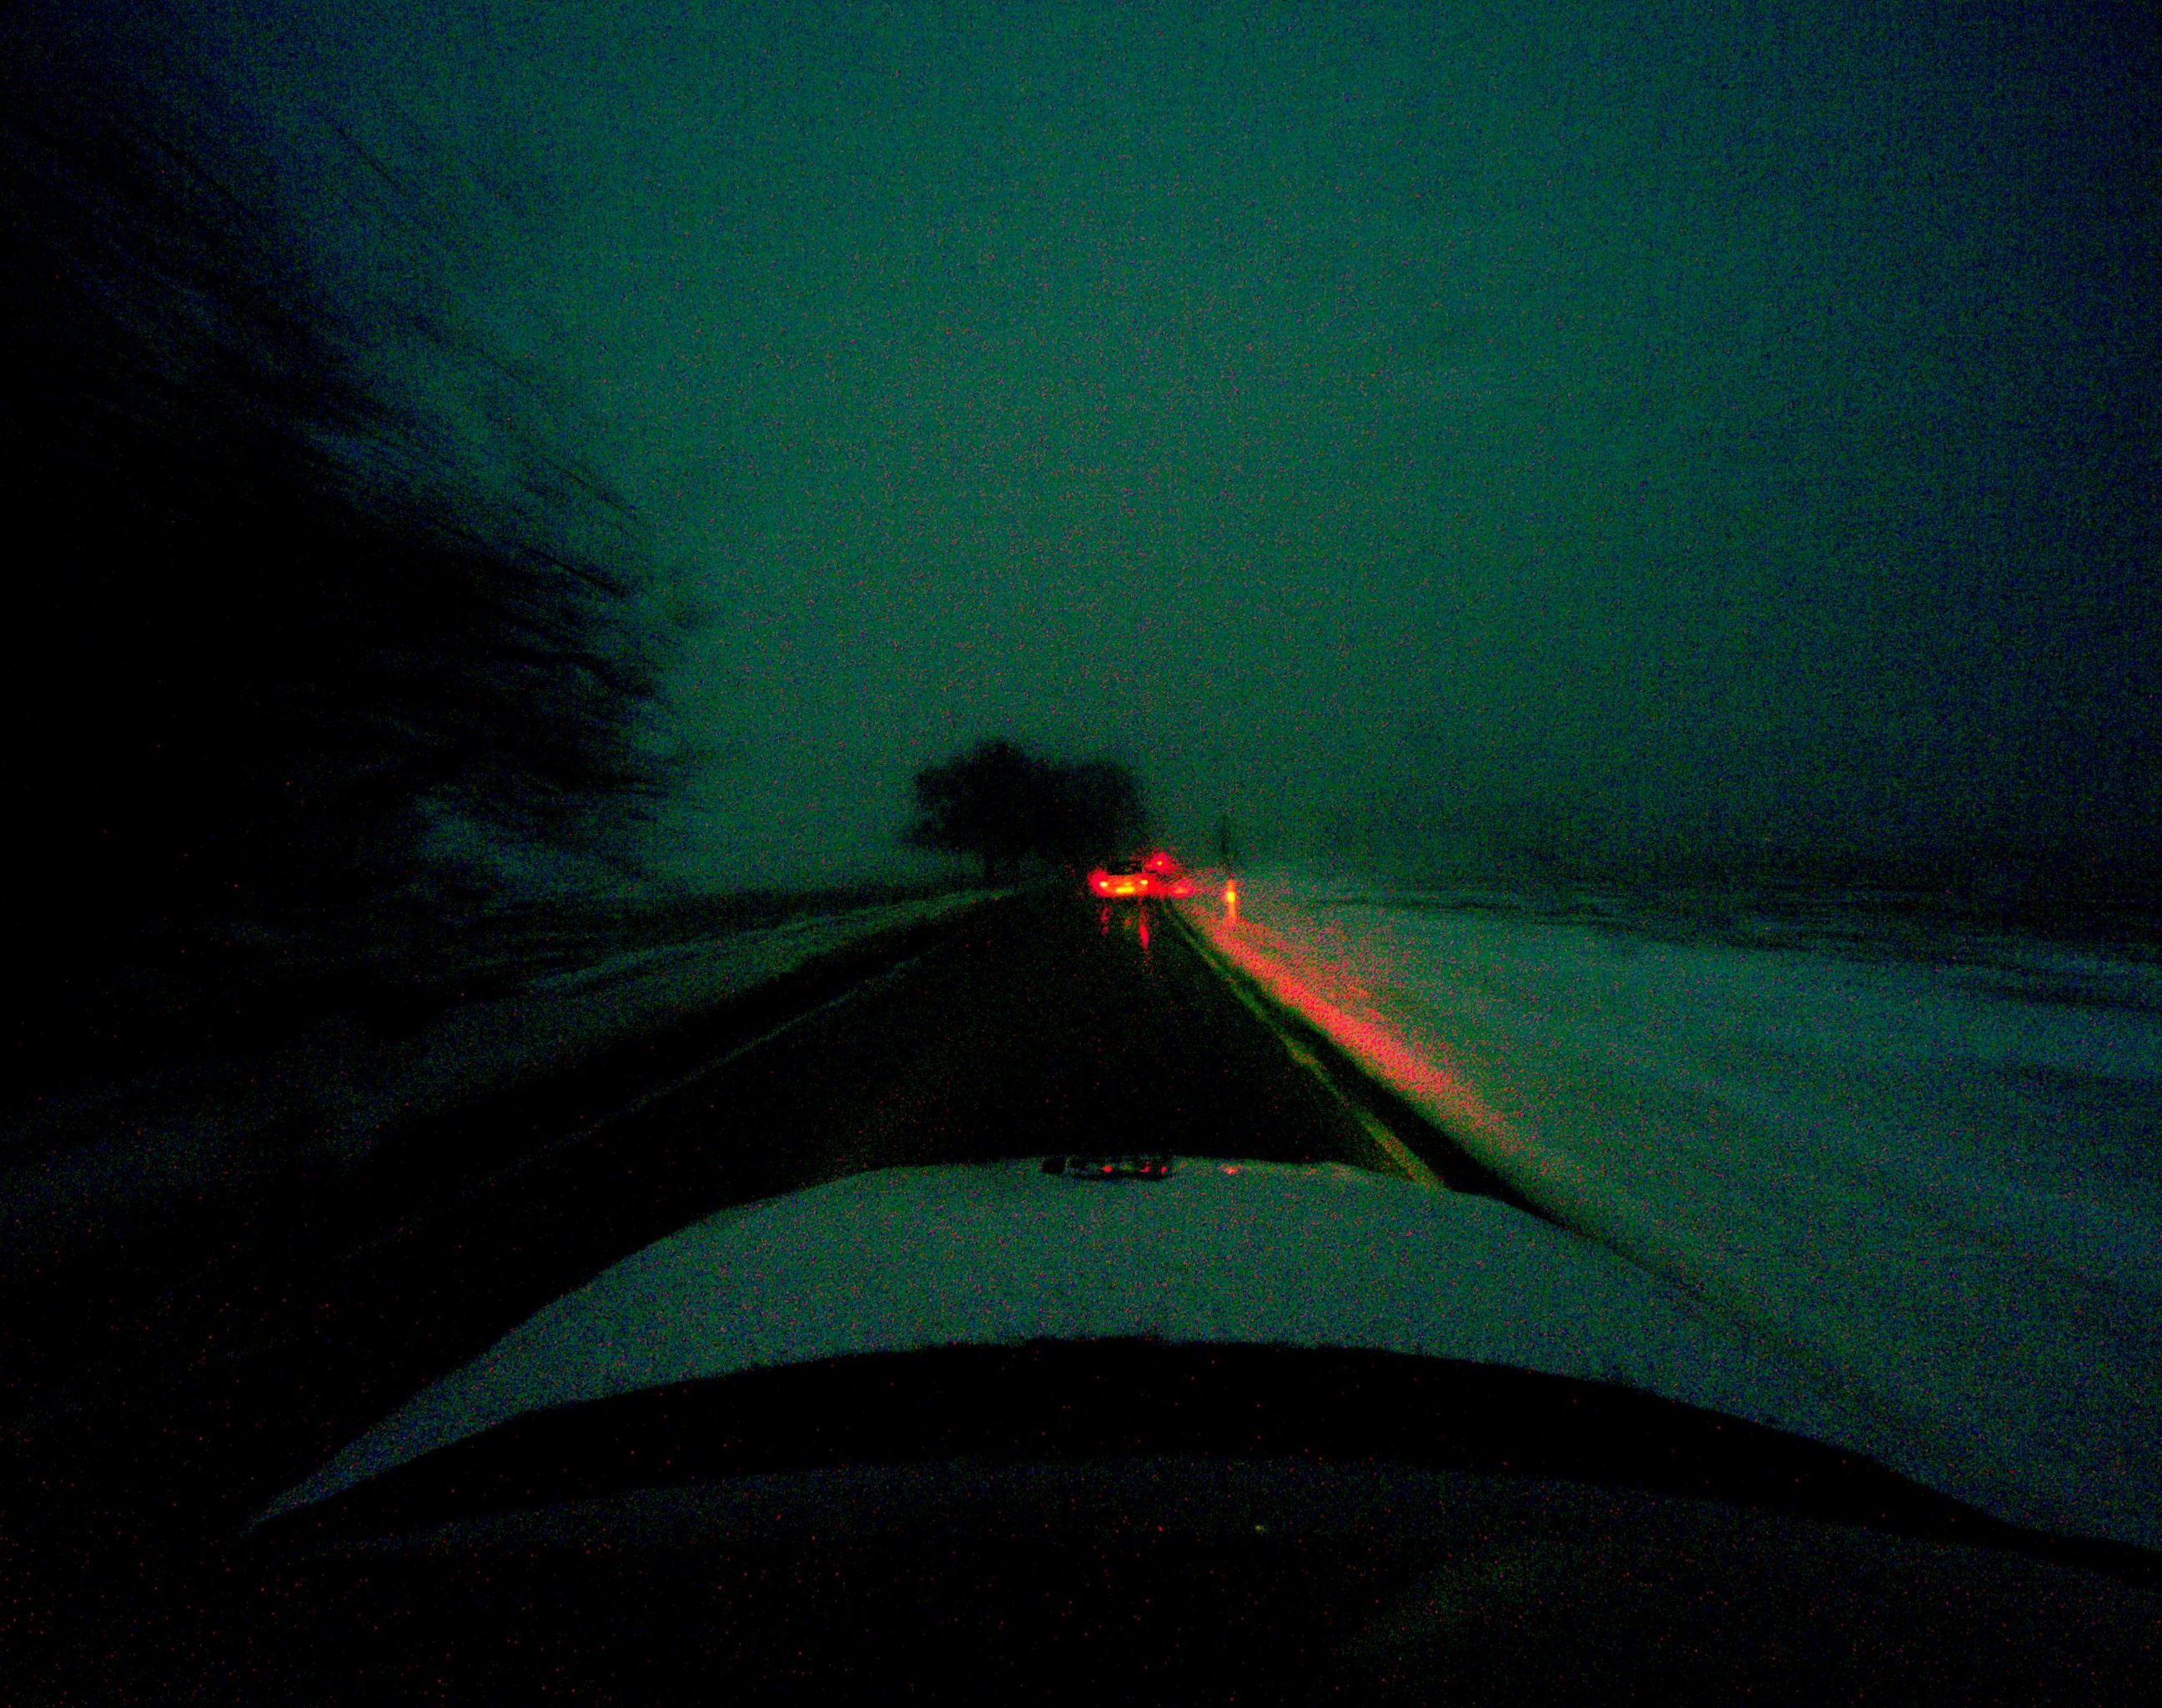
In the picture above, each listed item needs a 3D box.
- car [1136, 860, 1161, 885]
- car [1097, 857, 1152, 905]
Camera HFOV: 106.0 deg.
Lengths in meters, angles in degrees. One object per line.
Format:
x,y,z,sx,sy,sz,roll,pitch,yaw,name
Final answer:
4.203,1.126,50.740,1.472,1.508,3.056,-2,-1,4,car
1.510,0.842,27.479,1.699,1.463,4.004,-1,0,4,car
